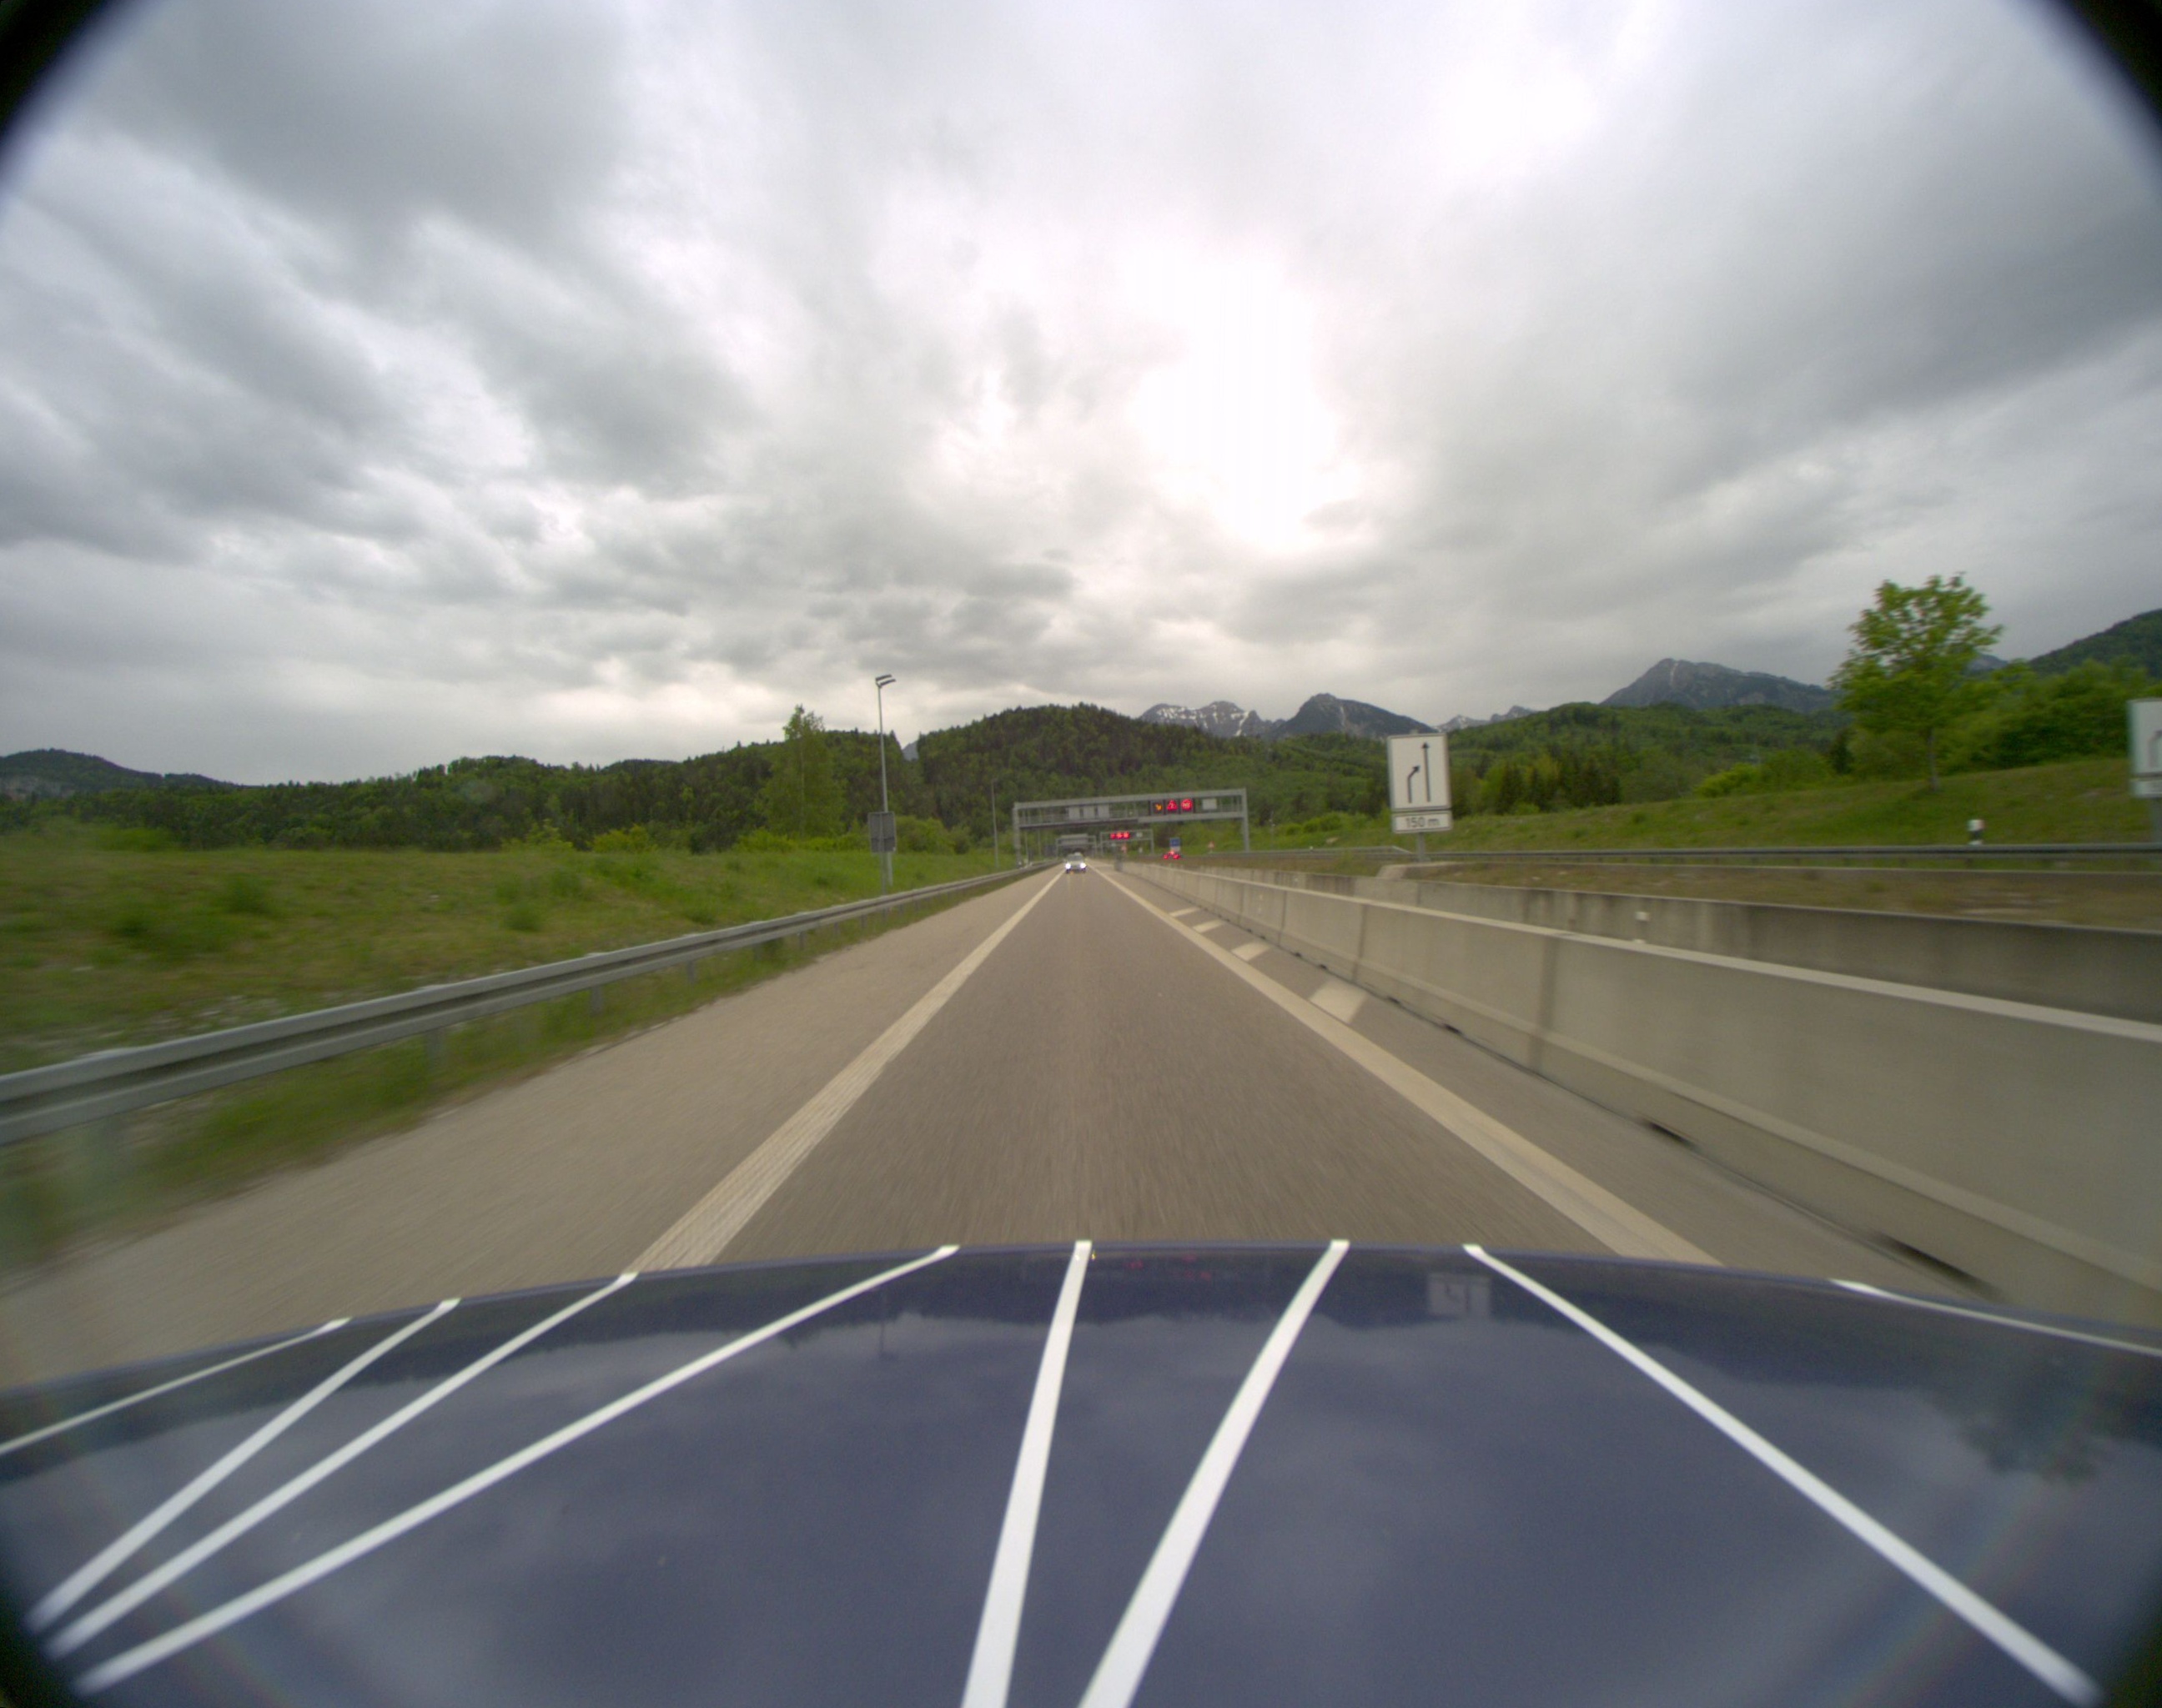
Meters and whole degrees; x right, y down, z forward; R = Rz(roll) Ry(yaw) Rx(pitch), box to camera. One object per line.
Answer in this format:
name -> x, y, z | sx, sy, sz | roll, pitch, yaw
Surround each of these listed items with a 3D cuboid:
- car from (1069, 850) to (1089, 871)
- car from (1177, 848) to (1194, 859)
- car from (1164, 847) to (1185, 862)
car -> -0.202, 0.594, 75.718 | 1.923, 1.871, 5.137 | -1, 1, 0
car -> 15.712, -0.101, 114.590 | 1.773, 1.598, 4.405 | -3, 0, 0
car -> 11.903, 0.082, 96.805 | 1.883, 1.726, 5.751 | -3, 0, 0
